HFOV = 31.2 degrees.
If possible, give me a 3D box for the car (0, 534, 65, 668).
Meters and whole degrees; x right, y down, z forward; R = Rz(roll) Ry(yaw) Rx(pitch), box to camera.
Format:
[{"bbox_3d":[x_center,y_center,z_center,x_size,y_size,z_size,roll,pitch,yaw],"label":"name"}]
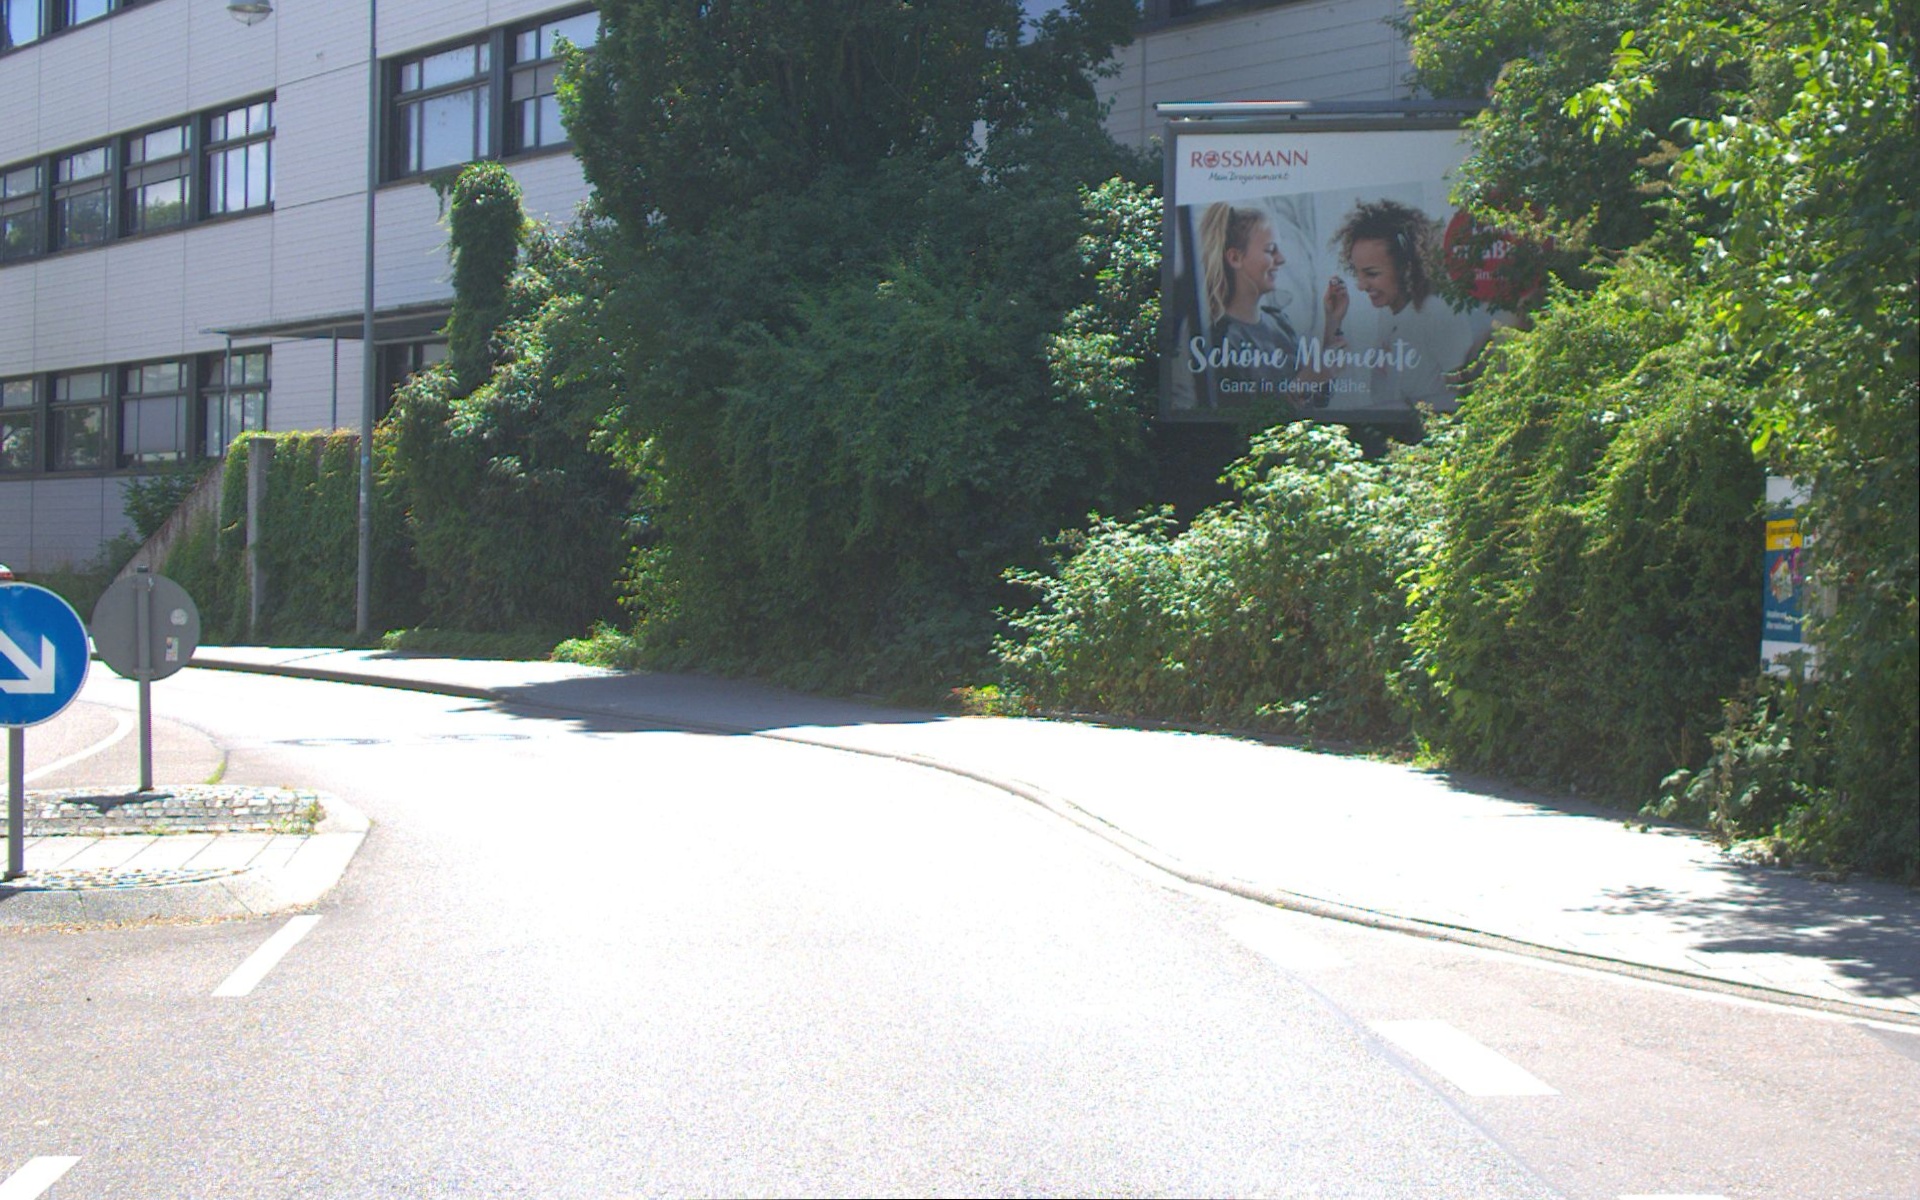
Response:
[{"bbox_3d":[-13.512,0.031,45.154,1.937,1.608,4.471,-8,5,-33],"label":"car"}]
